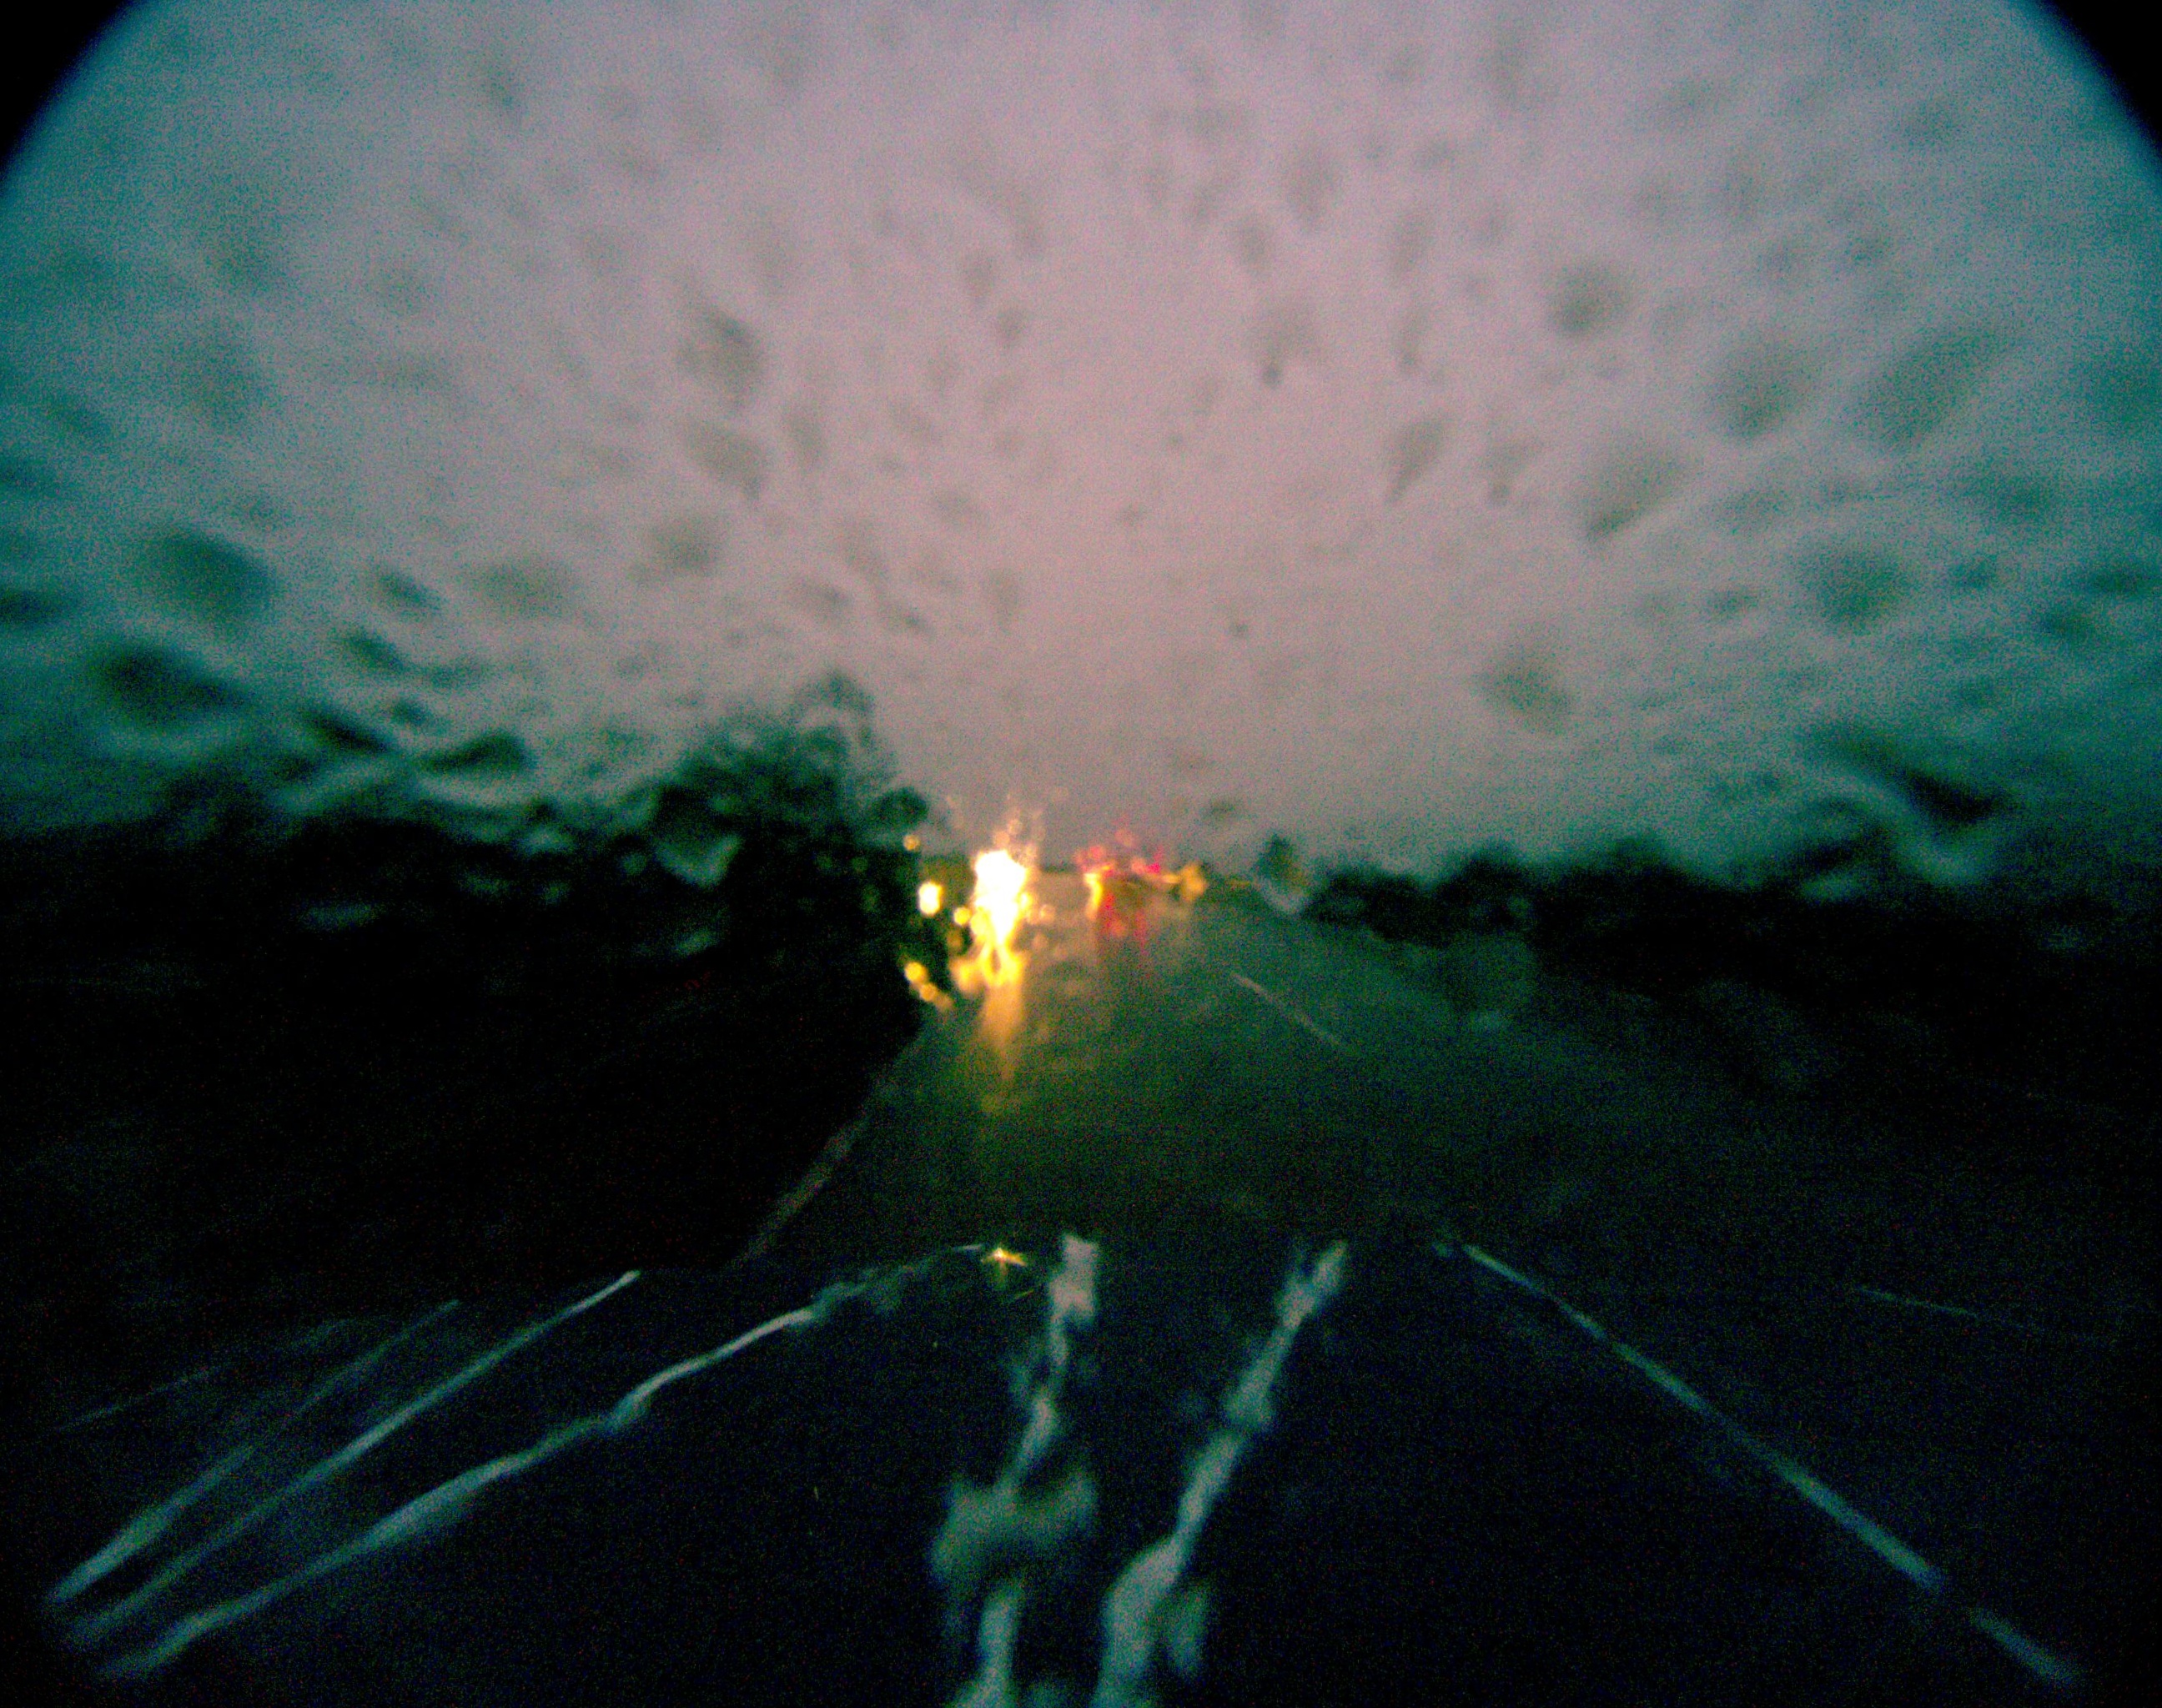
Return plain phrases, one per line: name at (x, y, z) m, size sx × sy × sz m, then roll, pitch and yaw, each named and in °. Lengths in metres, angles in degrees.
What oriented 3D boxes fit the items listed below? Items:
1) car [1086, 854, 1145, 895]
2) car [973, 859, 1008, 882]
car at (1.394, 0.837, 32.831) m, size 2.016 × 1.625 × 4.872 m, roll -1°, pitch 0°, yaw -3°
car at (-6.753, 1.269, 56.432) m, size 2.104 × 1.565 × 4.796 m, roll 1°, pitch -3°, yaw -12°
